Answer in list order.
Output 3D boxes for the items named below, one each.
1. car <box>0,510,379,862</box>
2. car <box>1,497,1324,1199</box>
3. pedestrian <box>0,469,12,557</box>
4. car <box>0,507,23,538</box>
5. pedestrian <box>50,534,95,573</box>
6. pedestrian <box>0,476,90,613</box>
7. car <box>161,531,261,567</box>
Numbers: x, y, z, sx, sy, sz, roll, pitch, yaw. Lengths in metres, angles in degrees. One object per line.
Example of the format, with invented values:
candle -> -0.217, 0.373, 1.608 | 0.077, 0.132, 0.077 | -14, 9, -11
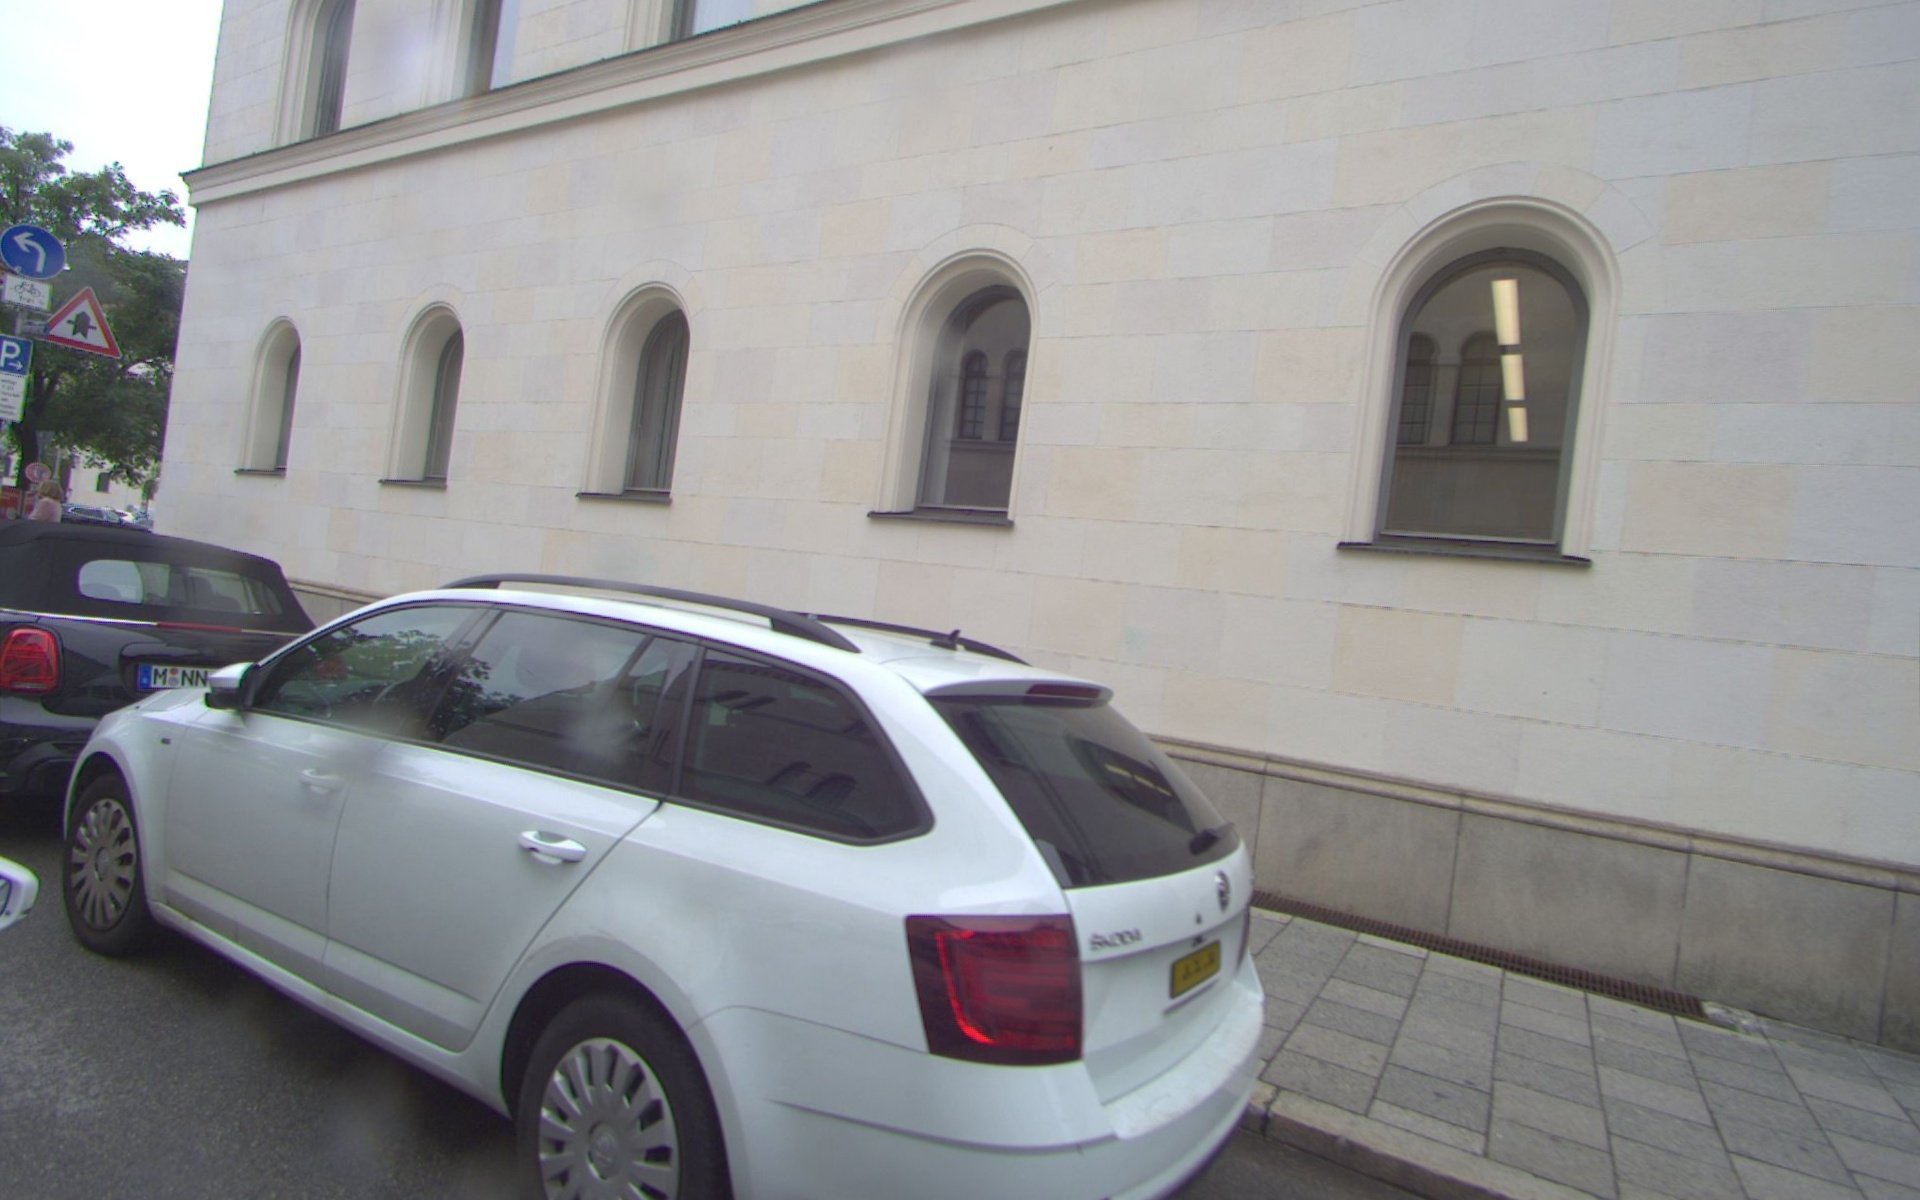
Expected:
car -> -5.158, 0.260, 5.704 | 3.710, 1.442, 1.543 | 6, -2, 32
car -> -1.224, 0.664, 3.420 | 4.240, 1.494, 1.792 | 7, 0, 31
pedestrian -> -12.515, -0.790, 12.632 | 0.481, 1.829, 0.642 | 7, 0, 36
car -> -50.247, -4.227, 50.451 | 1.774, 1.434, 4.365 | 8, -1, 32
pedestrian -> -20.154, -1.062, 22.847 | 0.558, 0.771, 0.570 | 7, -1, 36
pedestrian -> -12.282, -0.732, 13.449 | 0.536, 1.700, 0.622 | 8, -2, 25
car -> -44.683, -3.021, 60.129 | 1.774, 1.434, 4.365 | 8, -1, 32
